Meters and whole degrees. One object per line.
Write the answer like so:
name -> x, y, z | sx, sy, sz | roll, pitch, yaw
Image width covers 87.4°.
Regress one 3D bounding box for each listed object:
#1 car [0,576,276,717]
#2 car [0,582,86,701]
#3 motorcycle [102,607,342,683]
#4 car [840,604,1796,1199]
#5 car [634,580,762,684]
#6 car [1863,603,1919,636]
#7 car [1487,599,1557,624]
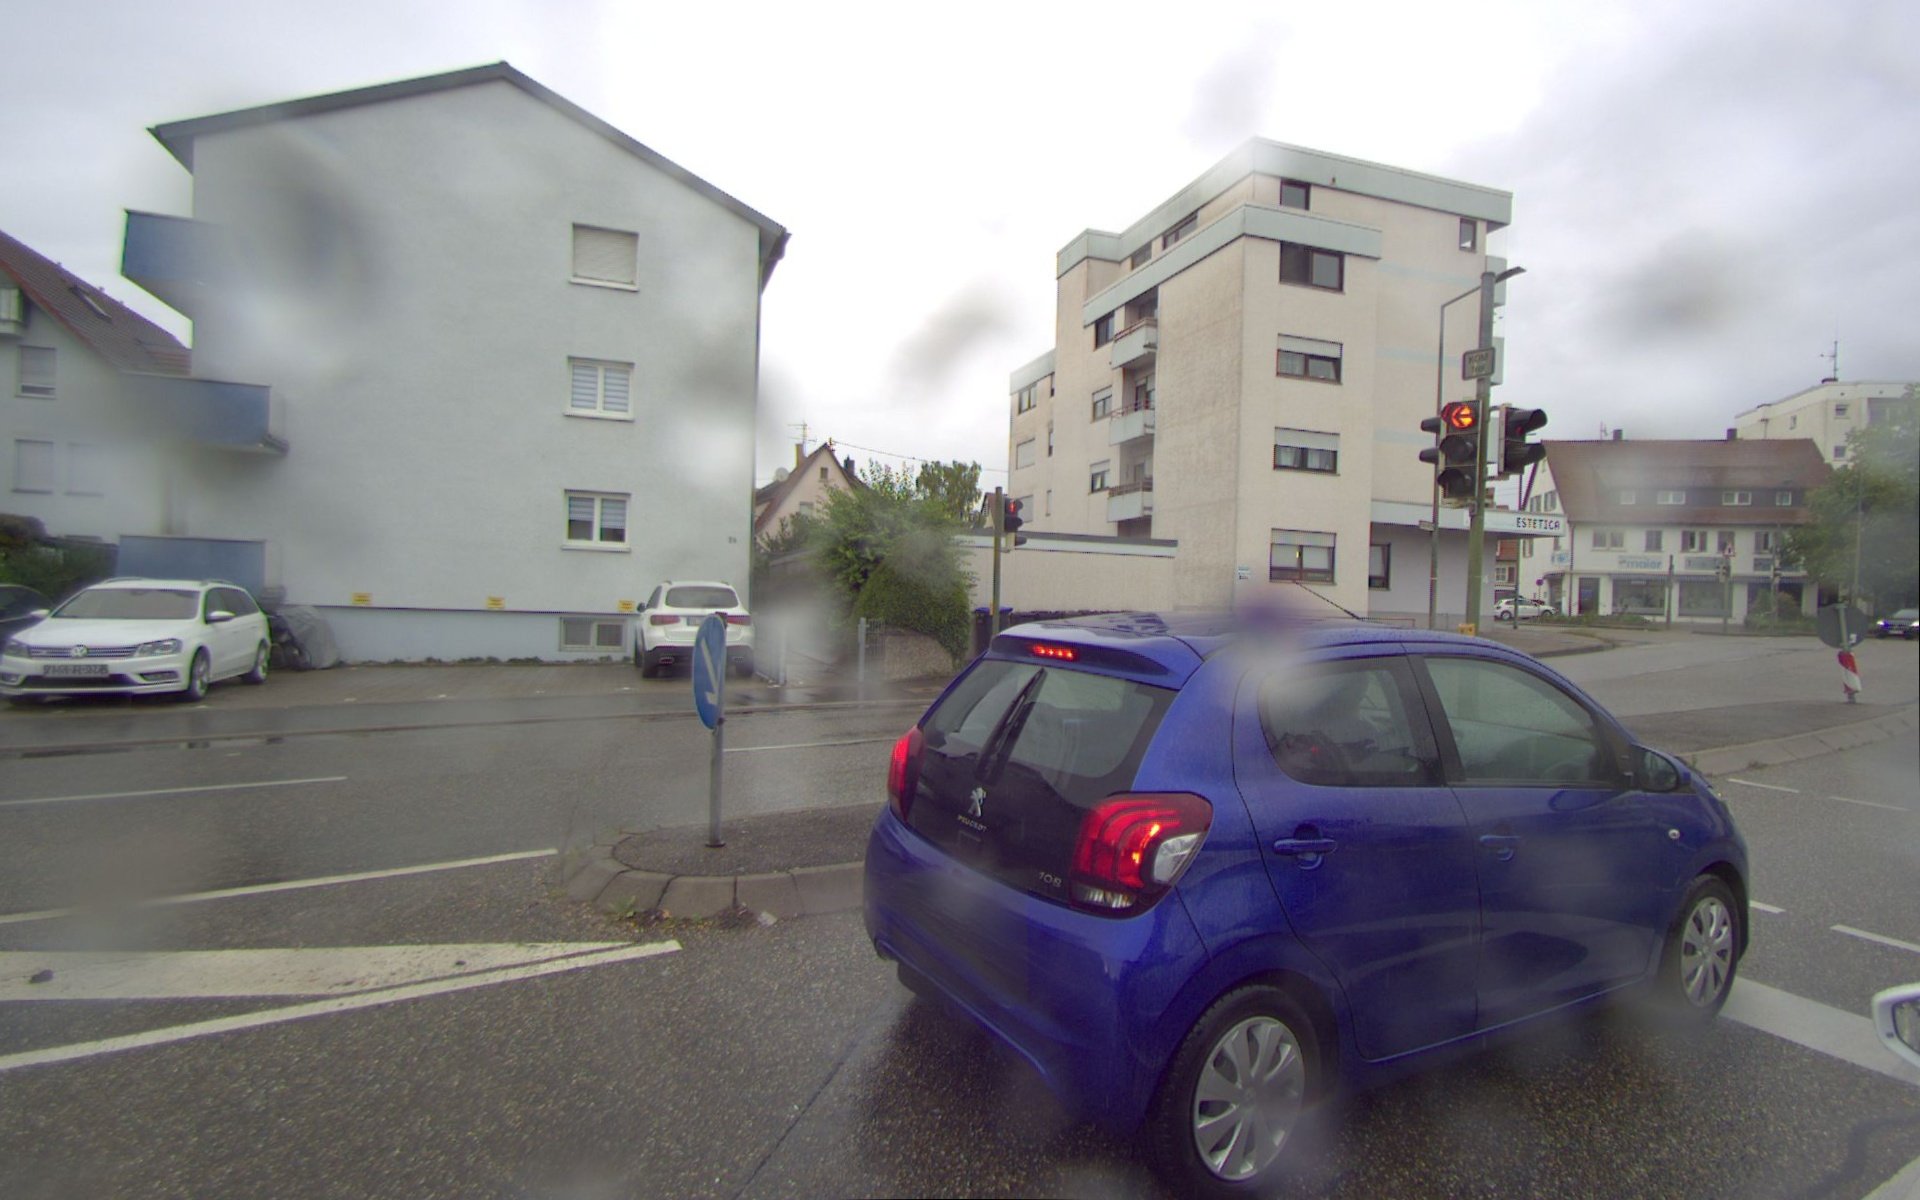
car -> -10.374, 0.498, 12.883 | 1.878, 1.493, 4.208 | 0, 0, -24
car -> -12.586, 0.488, 12.187 | 1.878, 1.430, 3.976 | 0, 0, -24
motorcycle -> -12.136, 0.693, 16.649 | 0.864, 1.115, 3.113 | 1, 1, 43
car -> 1.364, 0.761, 3.675 | 3.231, 1.429, 1.571 | 1, 1, -30
car -> -4.926, 0.522, 18.425 | 1.909, 1.658, 4.445 | 0, 0, -19
car -> 43.134, 0.869, 45.875 | 3.786, 1.439, 1.770 | 1, 1, -31
car -> 38.890, 0.755, 69.589 | 3.887, 1.593, 1.873 | 1, 1, 17
